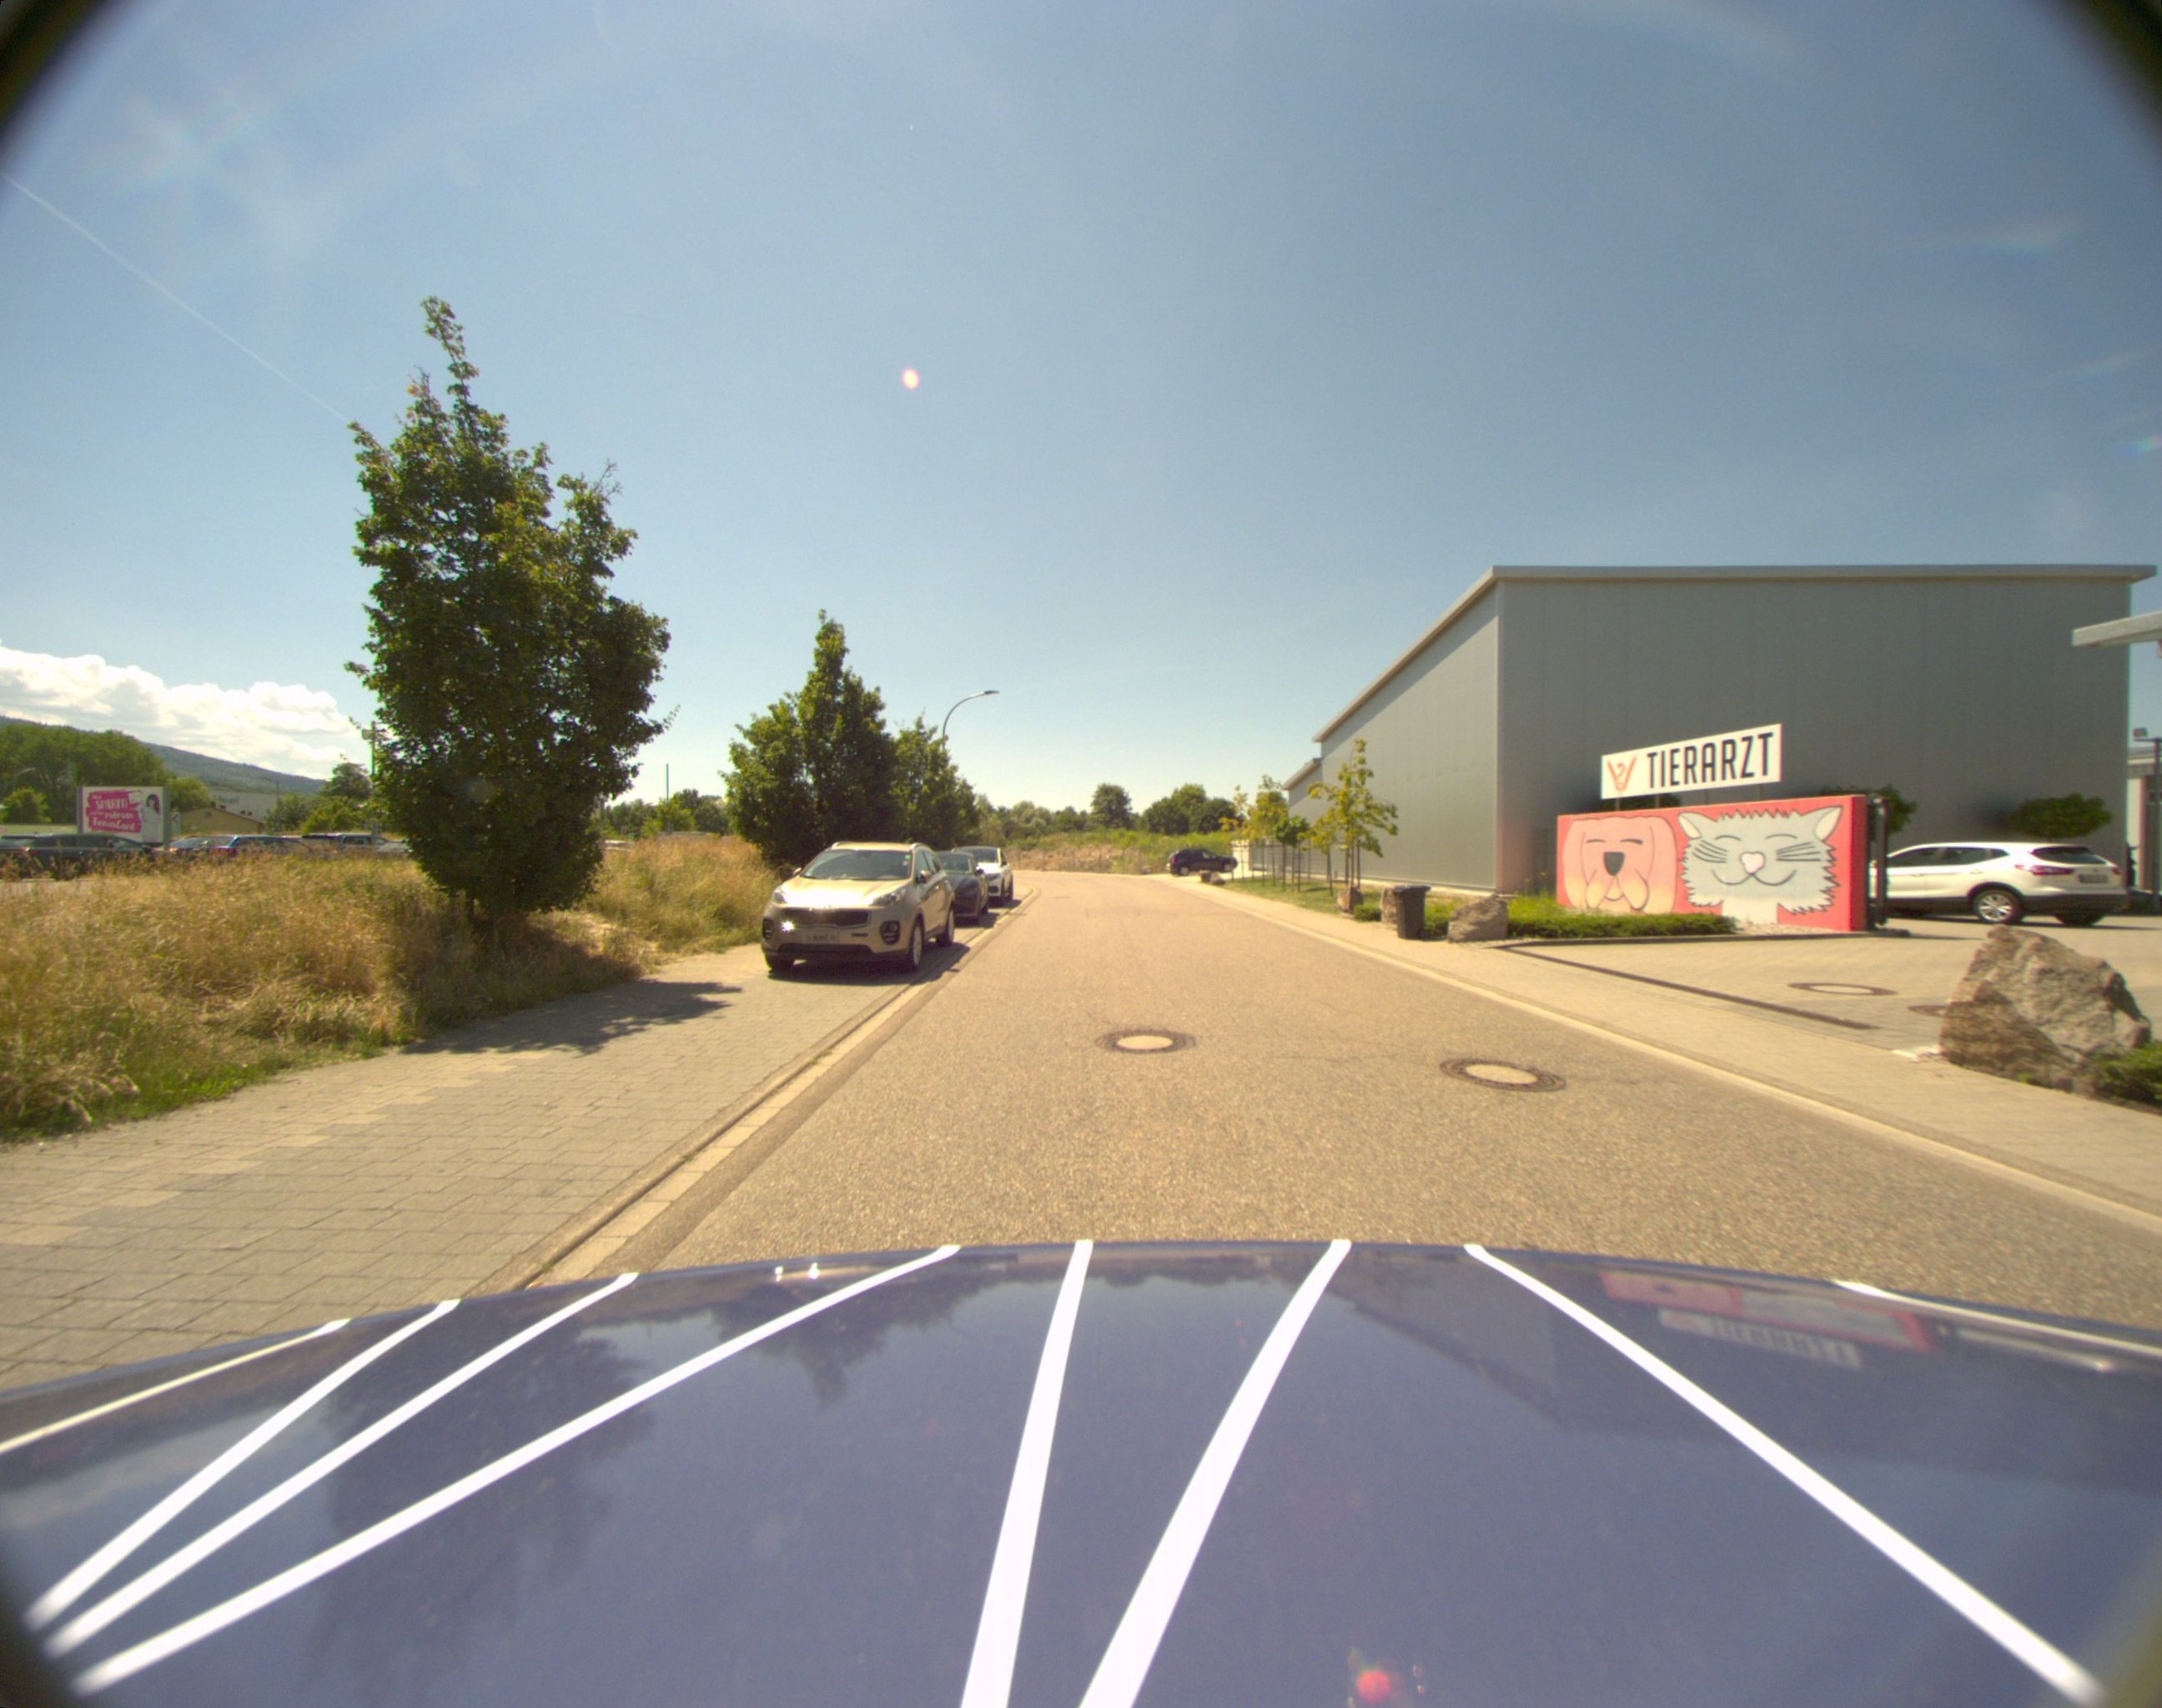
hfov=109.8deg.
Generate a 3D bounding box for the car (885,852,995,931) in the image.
[{"bbox_3d":[-3.093,0.751,17.536,1.909,1.520,4.628,2,0,-4],"label":"car"}]

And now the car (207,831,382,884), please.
[{"bbox_3d":[-29.452,0.170,28.696,1.998,1.839,4.401,1,-1,0],"label":"car"}]

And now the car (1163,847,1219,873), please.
[{"bbox_3d":[7.334,0.389,50.781,3.369,1.453,1.781,-5,1,-2],"label":"car"}]

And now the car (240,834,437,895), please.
[{"bbox_3d":[-23.575,0.344,24.422,1.998,1.775,4.401,1,-1,0],"label":"car"}]

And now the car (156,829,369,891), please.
[{"bbox_3d":[-25.754,0.208,24.196,1.998,1.775,4.401,1,-1,0],"label":"car"}]

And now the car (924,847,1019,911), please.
[{"bbox_3d":[-3.188,0.662,23.181,2.149,1.689,4.784,2,0,0],"label":"car"}]

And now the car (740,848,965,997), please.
[{"bbox_3d":[-2.910,0.756,10.771,1.809,1.626,4.457,2,0,0],"label":"car"}]

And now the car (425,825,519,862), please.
[{"bbox_3d":[-39.067,-0.712,48.891,1.998,2.230,4.752,1,1,4],"label":"car"}]

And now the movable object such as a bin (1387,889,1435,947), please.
[{"bbox_3d":[5.691,1.089,13.118,0.572,0.944,0.512,-1,1,-5],"label":"movable object such as a bin"}]

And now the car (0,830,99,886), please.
[{"bbox_3d":[-35.377,0.126,24.374,1.998,1.775,4.401,1,-1,0],"label":"car"}]

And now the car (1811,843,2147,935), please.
[{"bbox_3d":[17.717,0.605,15.343,1.912,1.575,3.998,-1,0,-6],"label":"car"}]

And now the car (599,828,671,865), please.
[{"bbox_3d":[-27.463,-0.475,46.977,1.952,2.133,4.399,0,1,-2],"label":"car"}]

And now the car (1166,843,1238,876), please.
[{"bbox_3d":[7.576,0.327,47.827,4.173,1.649,1.781,-5,1,0],"label":"car"}]

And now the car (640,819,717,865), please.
[{"bbox_3d":[-24.904,-0.756,47.262,1.998,2.727,4.752,1,1,4],"label":"car"}]

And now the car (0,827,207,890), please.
[{"bbox_3d":[-30.673,0.153,23.573,1.998,1.775,4.401,1,-1,0],"label":"car"}]
